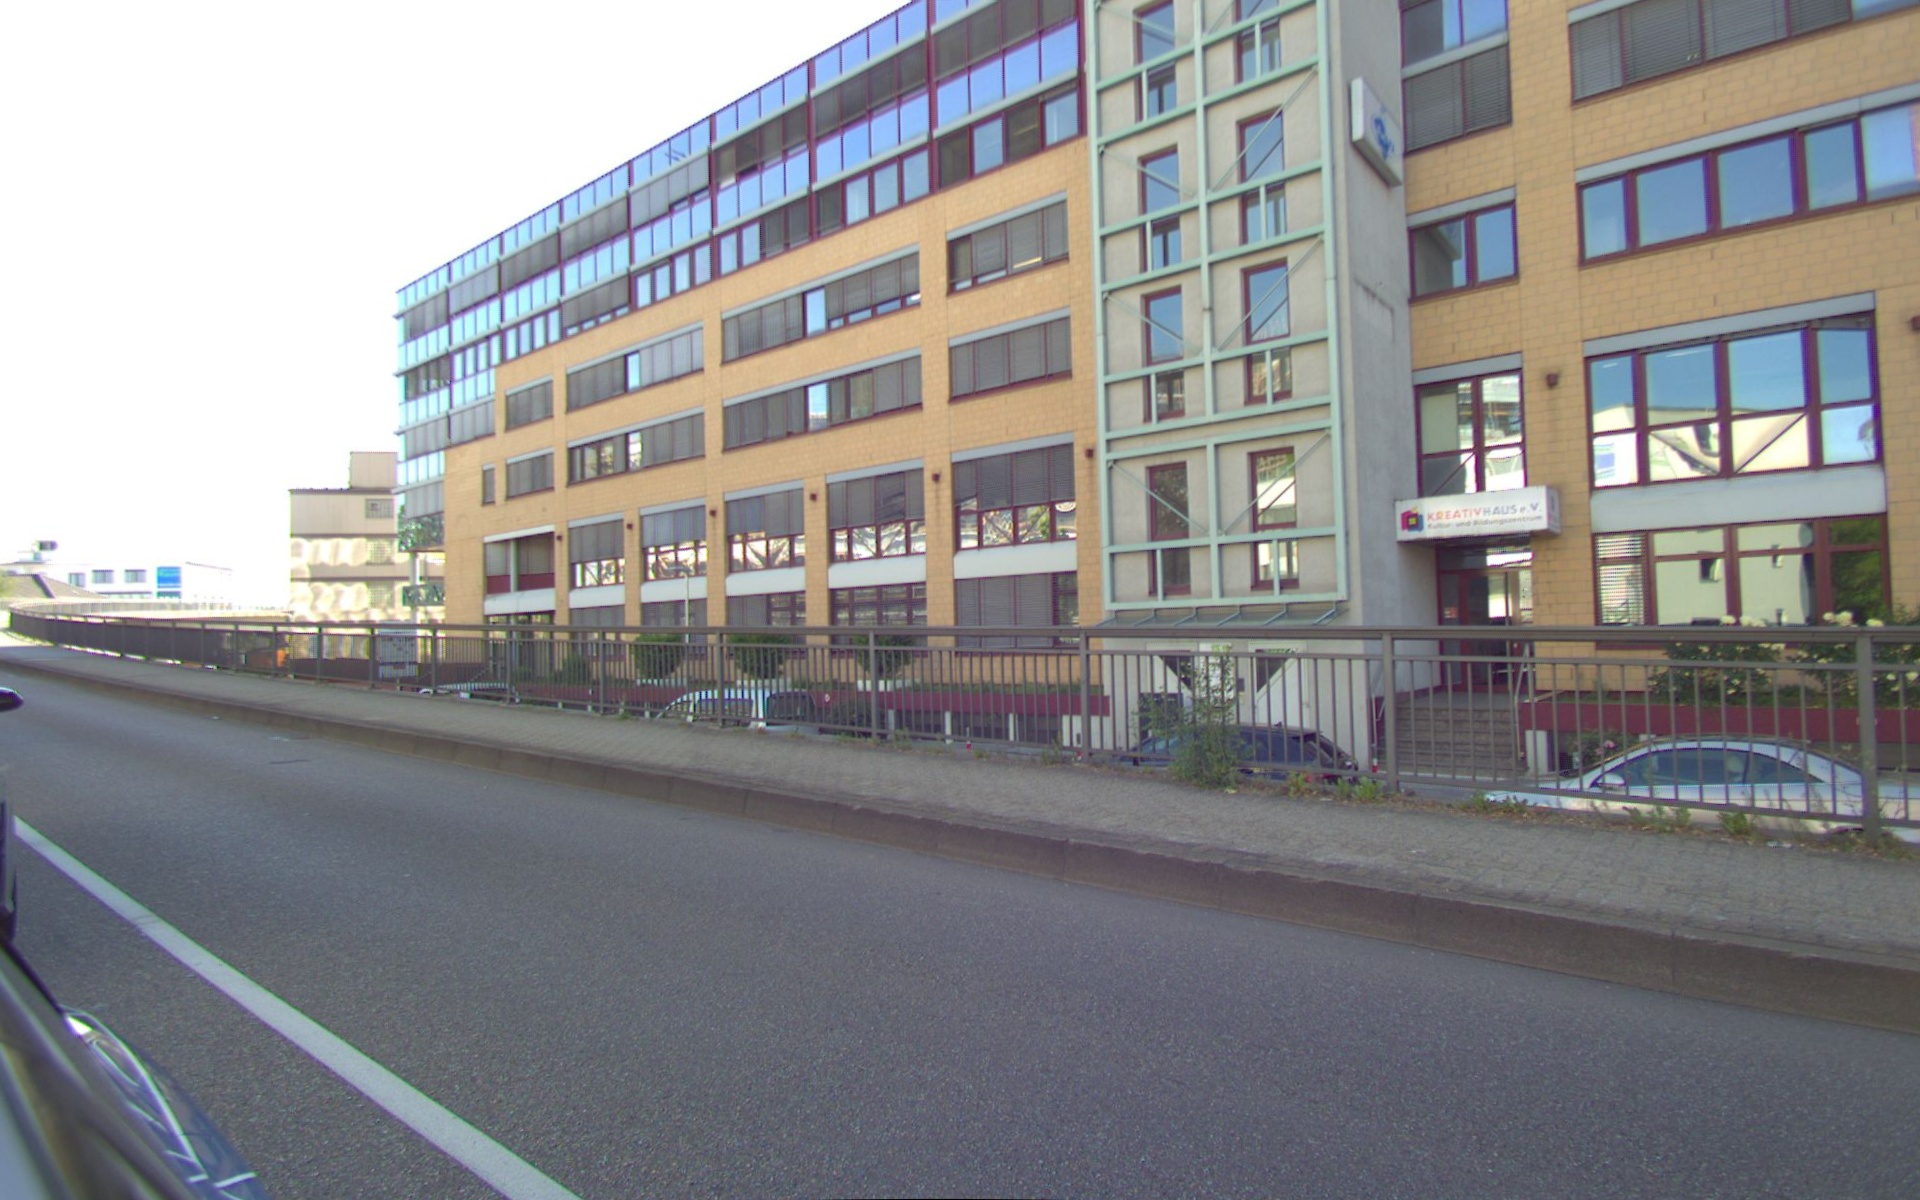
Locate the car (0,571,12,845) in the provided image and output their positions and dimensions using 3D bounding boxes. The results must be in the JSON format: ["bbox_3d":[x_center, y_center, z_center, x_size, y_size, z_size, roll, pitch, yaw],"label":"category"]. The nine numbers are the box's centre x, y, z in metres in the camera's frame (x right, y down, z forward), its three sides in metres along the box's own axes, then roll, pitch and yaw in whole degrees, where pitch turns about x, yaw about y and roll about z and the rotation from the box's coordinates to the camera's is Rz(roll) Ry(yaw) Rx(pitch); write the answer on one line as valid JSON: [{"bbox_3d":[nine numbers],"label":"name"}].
[{"bbox_3d":[-5.843,0.757,4.663,3.998,1.660,1.726,-3,-4,41],"label":"car"}]

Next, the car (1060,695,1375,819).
[{"bbox_3d":[3.360,2.003,13.610,3.805,1.279,1.560,-3,-4,40],"label":"car"}]

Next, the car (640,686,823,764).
[{"bbox_3d":[-4.595,2.419,20.130,3.805,1.279,1.560,-3,-4,40],"label":"car"}]

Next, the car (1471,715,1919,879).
[{"bbox_3d":[7.706,1.881,10.236,4.254,1.175,1.704,-3,-4,40],"label":"car"}]

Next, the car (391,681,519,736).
[{"bbox_3d":[-13.821,2.920,27.628,3.805,1.279,1.744,-3,-4,39],"label":"car"}]
